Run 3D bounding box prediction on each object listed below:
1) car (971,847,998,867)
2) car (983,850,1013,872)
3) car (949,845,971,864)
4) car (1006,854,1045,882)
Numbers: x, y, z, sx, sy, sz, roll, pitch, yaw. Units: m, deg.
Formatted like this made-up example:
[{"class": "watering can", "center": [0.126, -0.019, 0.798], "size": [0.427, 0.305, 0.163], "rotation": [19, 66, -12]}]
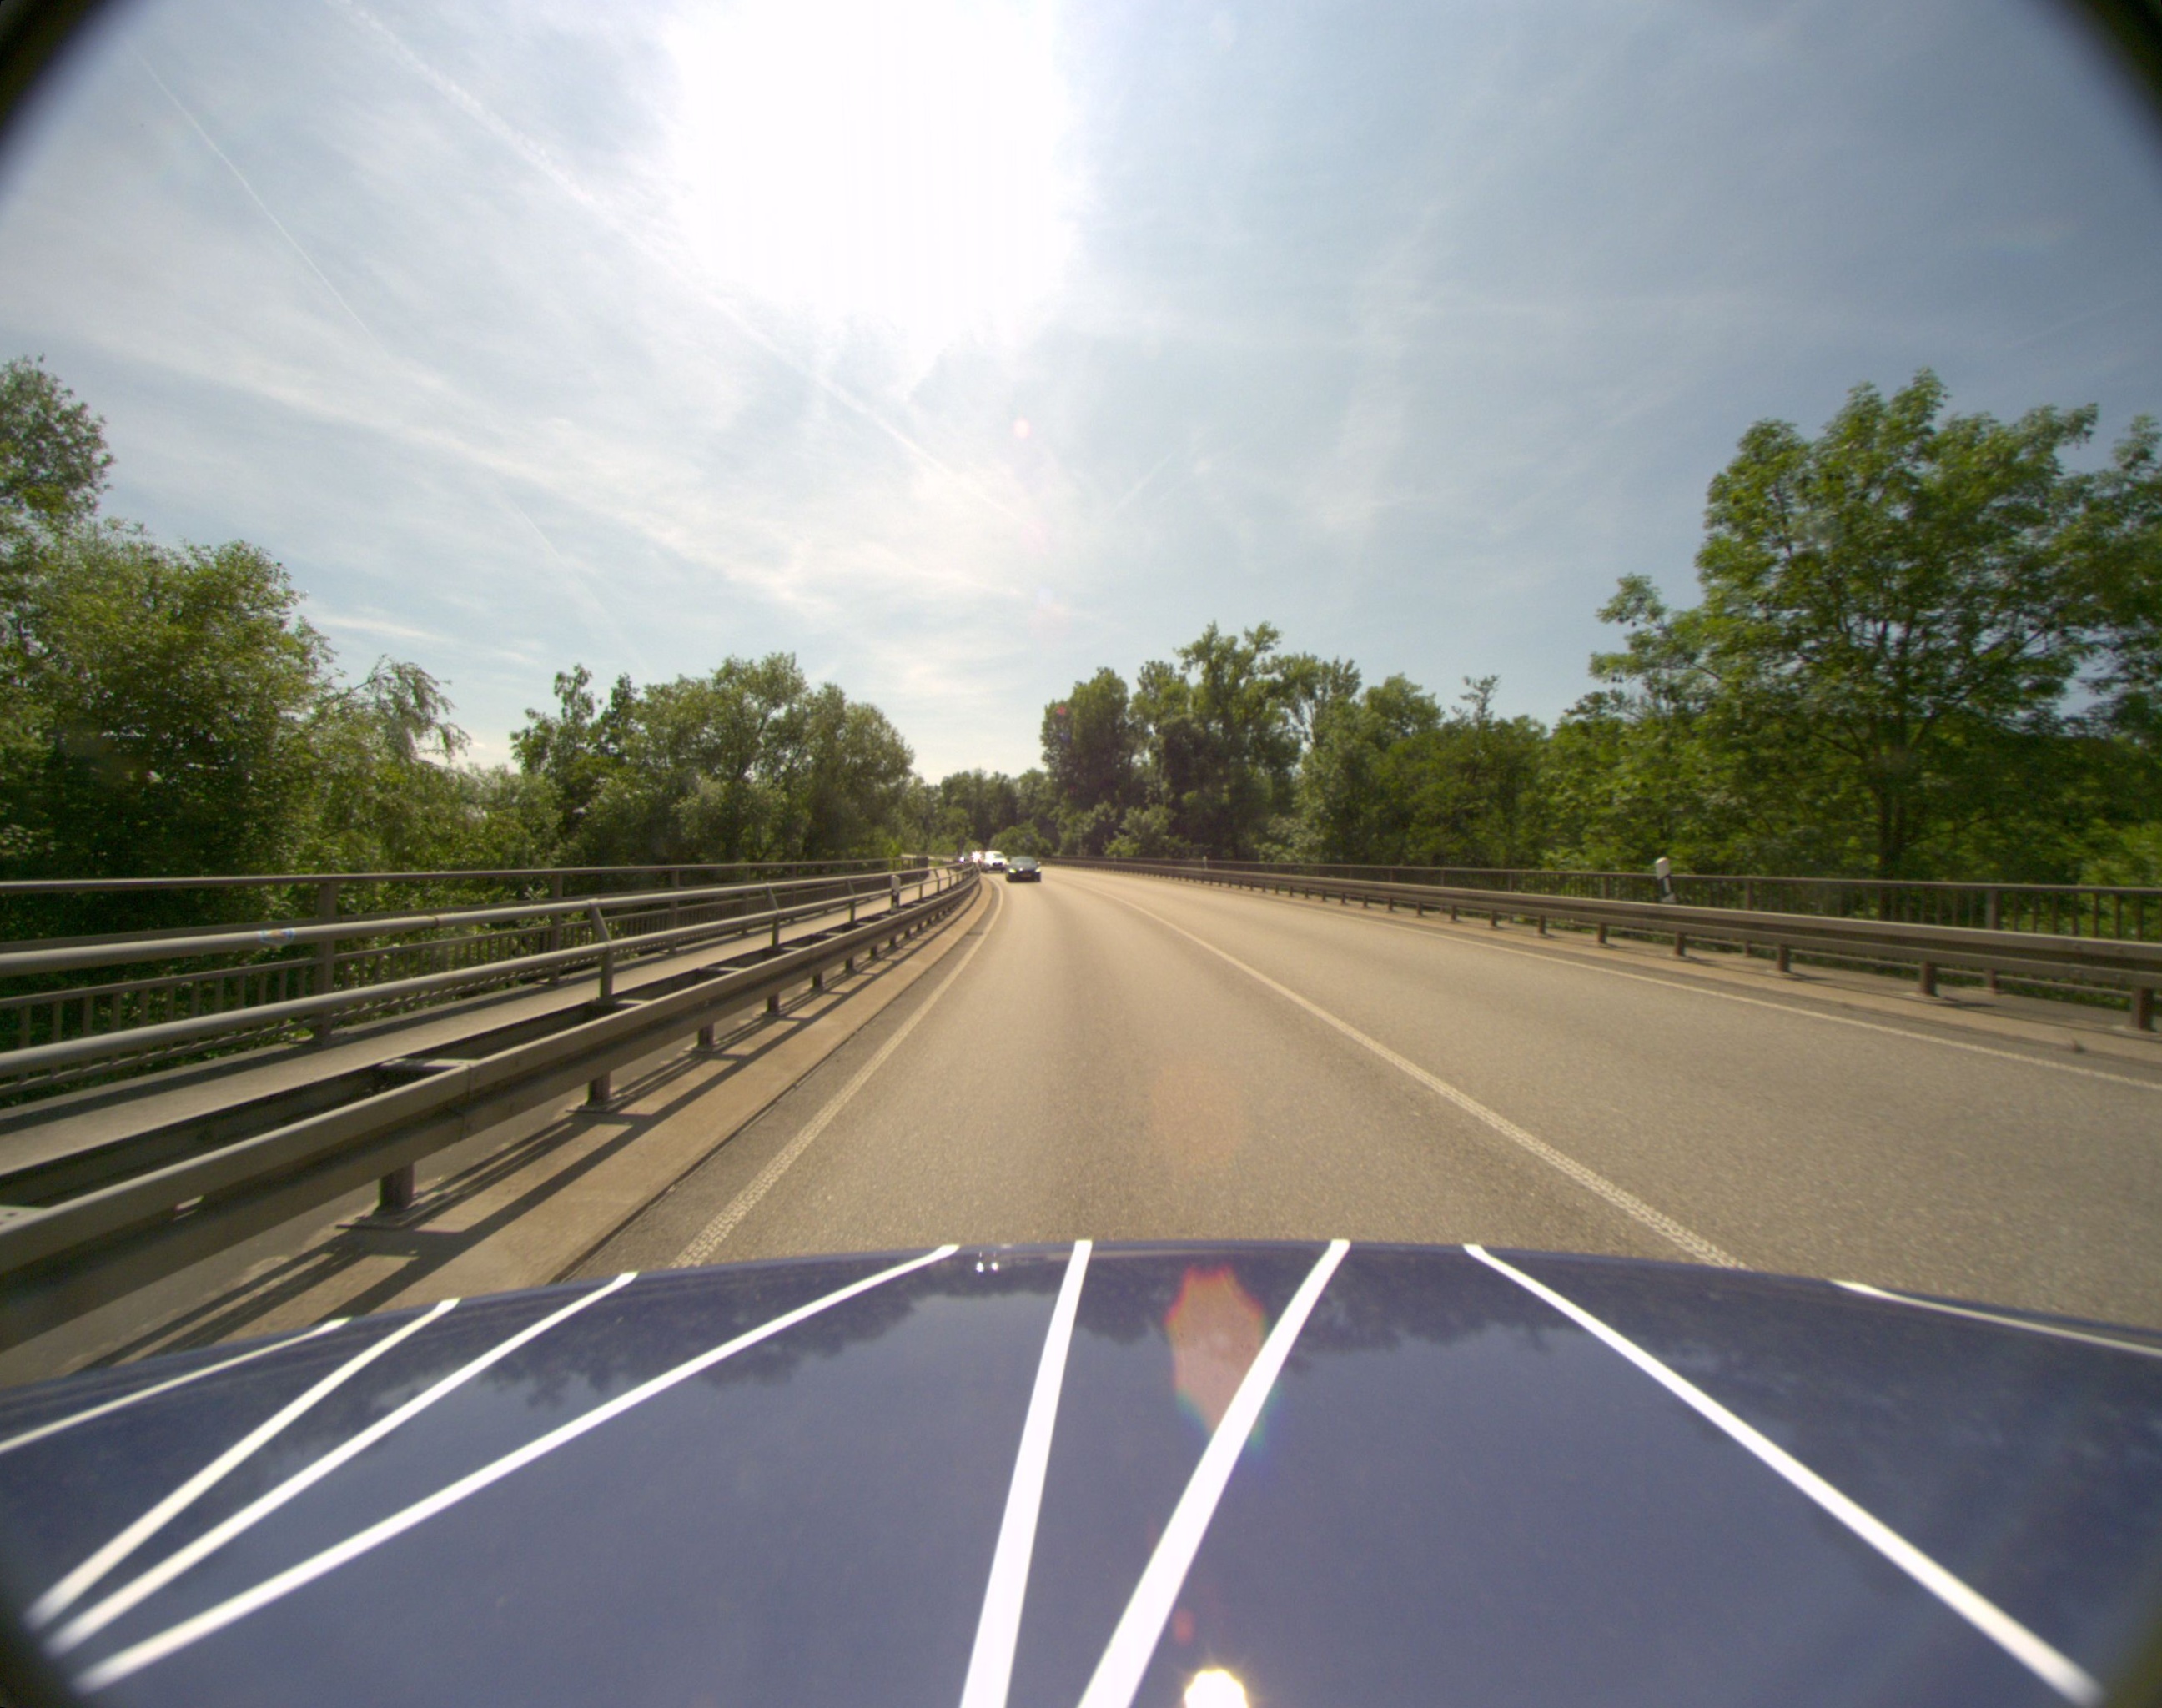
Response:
[{"class": "car", "center": [-9.137, 0.269, 71.934], "size": [2.001, 1.765, 3.995], "rotation": [-3, 1, -14]}, {"class": "car", "center": [-6.684, 0.510, 60.640], "size": [1.911, 1.638, 3.945], "rotation": [-2, 1, -13]}, {"class": "car", "center": [-13.626, -0.006, 85.390], "size": [2.001, 2.002, 3.994], "rotation": [-3, 1, -15]}, {"class": "car", "center": [-3.185, 0.760, 43.046], "size": [1.910, 1.413, 3.947], "rotation": [-2, 1, -8]}]
